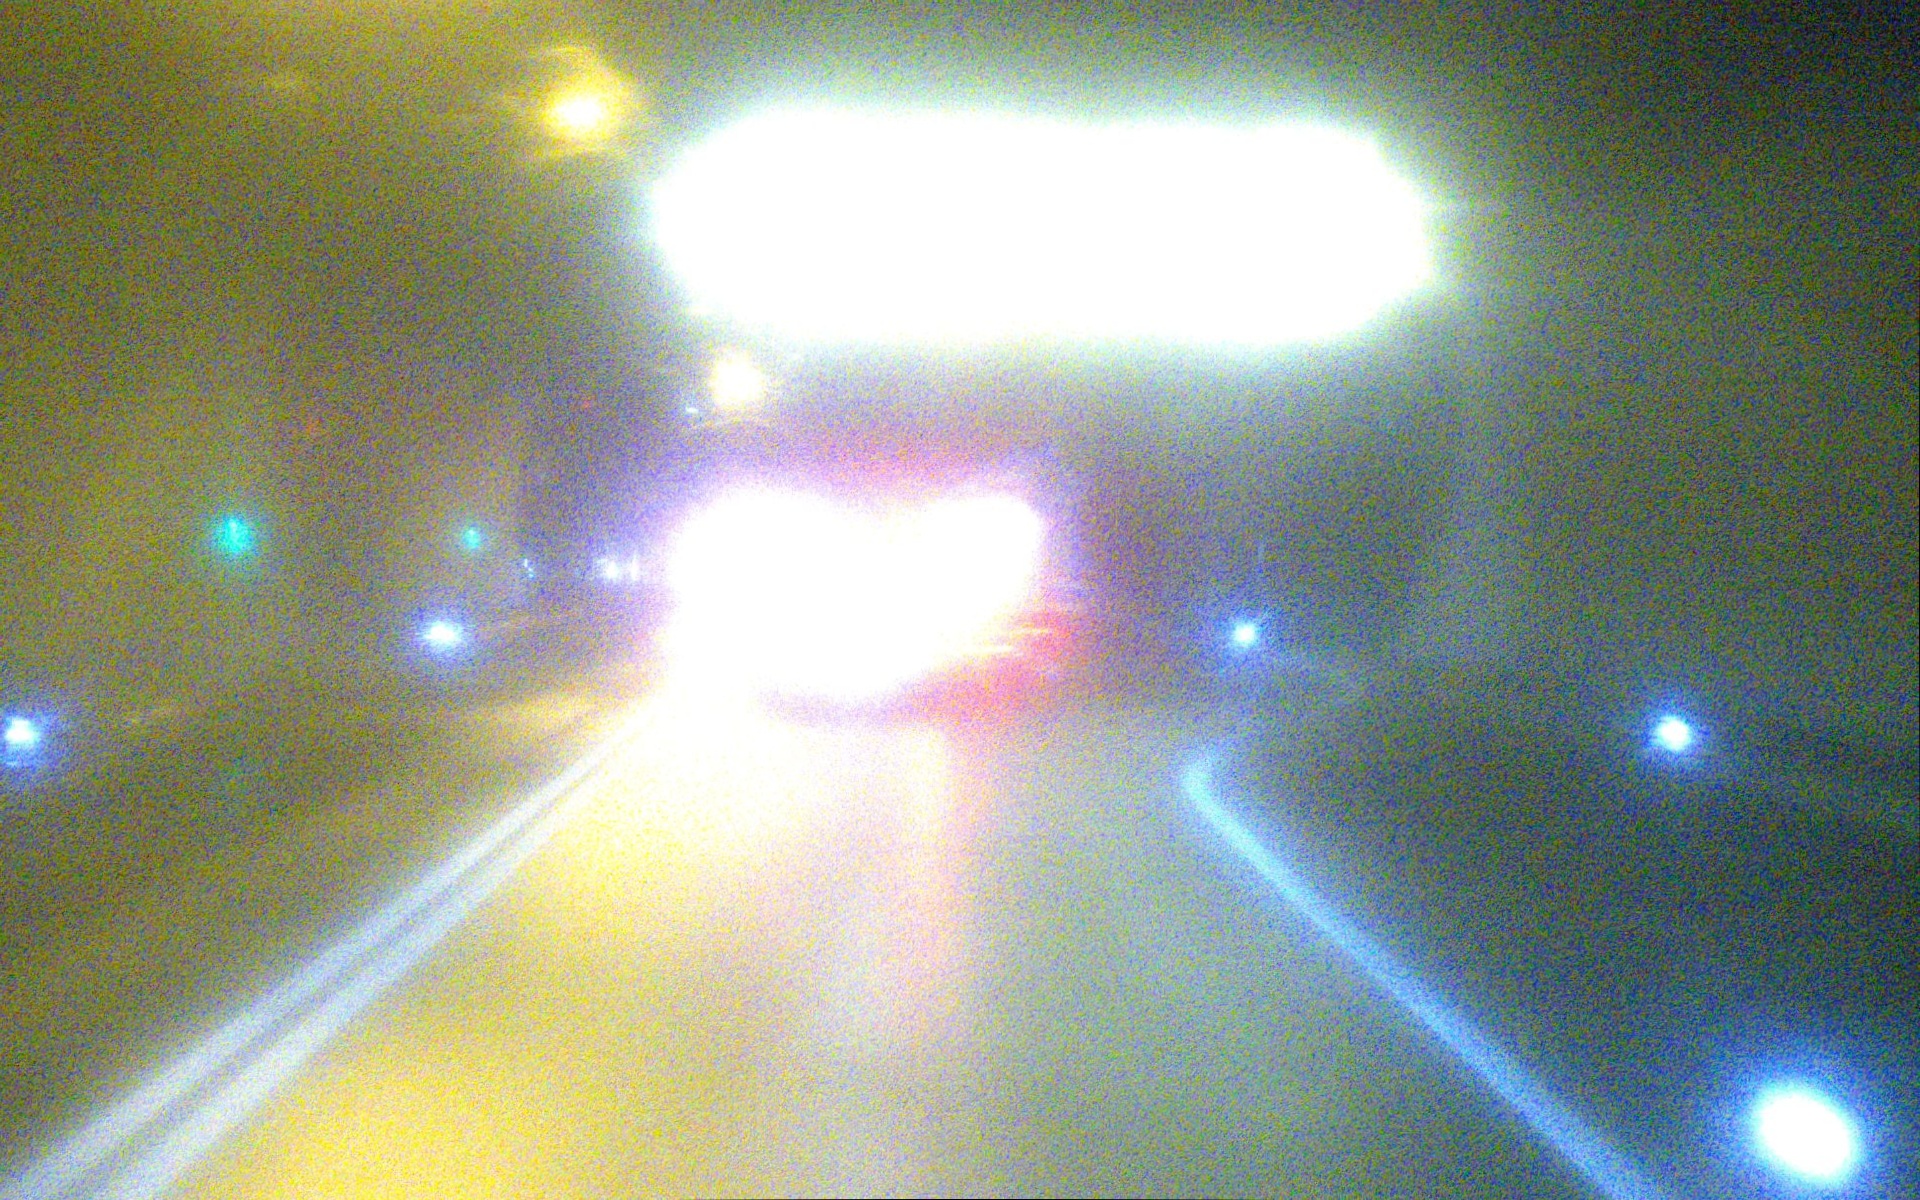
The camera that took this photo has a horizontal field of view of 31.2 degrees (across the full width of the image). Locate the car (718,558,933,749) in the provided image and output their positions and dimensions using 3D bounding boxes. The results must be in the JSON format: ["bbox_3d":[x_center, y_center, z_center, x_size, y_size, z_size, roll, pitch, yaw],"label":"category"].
[{"bbox_3d":[-1.161,0.434,31.285,1.808,1.616,4.000,0,1,0],"label":"car"}]
